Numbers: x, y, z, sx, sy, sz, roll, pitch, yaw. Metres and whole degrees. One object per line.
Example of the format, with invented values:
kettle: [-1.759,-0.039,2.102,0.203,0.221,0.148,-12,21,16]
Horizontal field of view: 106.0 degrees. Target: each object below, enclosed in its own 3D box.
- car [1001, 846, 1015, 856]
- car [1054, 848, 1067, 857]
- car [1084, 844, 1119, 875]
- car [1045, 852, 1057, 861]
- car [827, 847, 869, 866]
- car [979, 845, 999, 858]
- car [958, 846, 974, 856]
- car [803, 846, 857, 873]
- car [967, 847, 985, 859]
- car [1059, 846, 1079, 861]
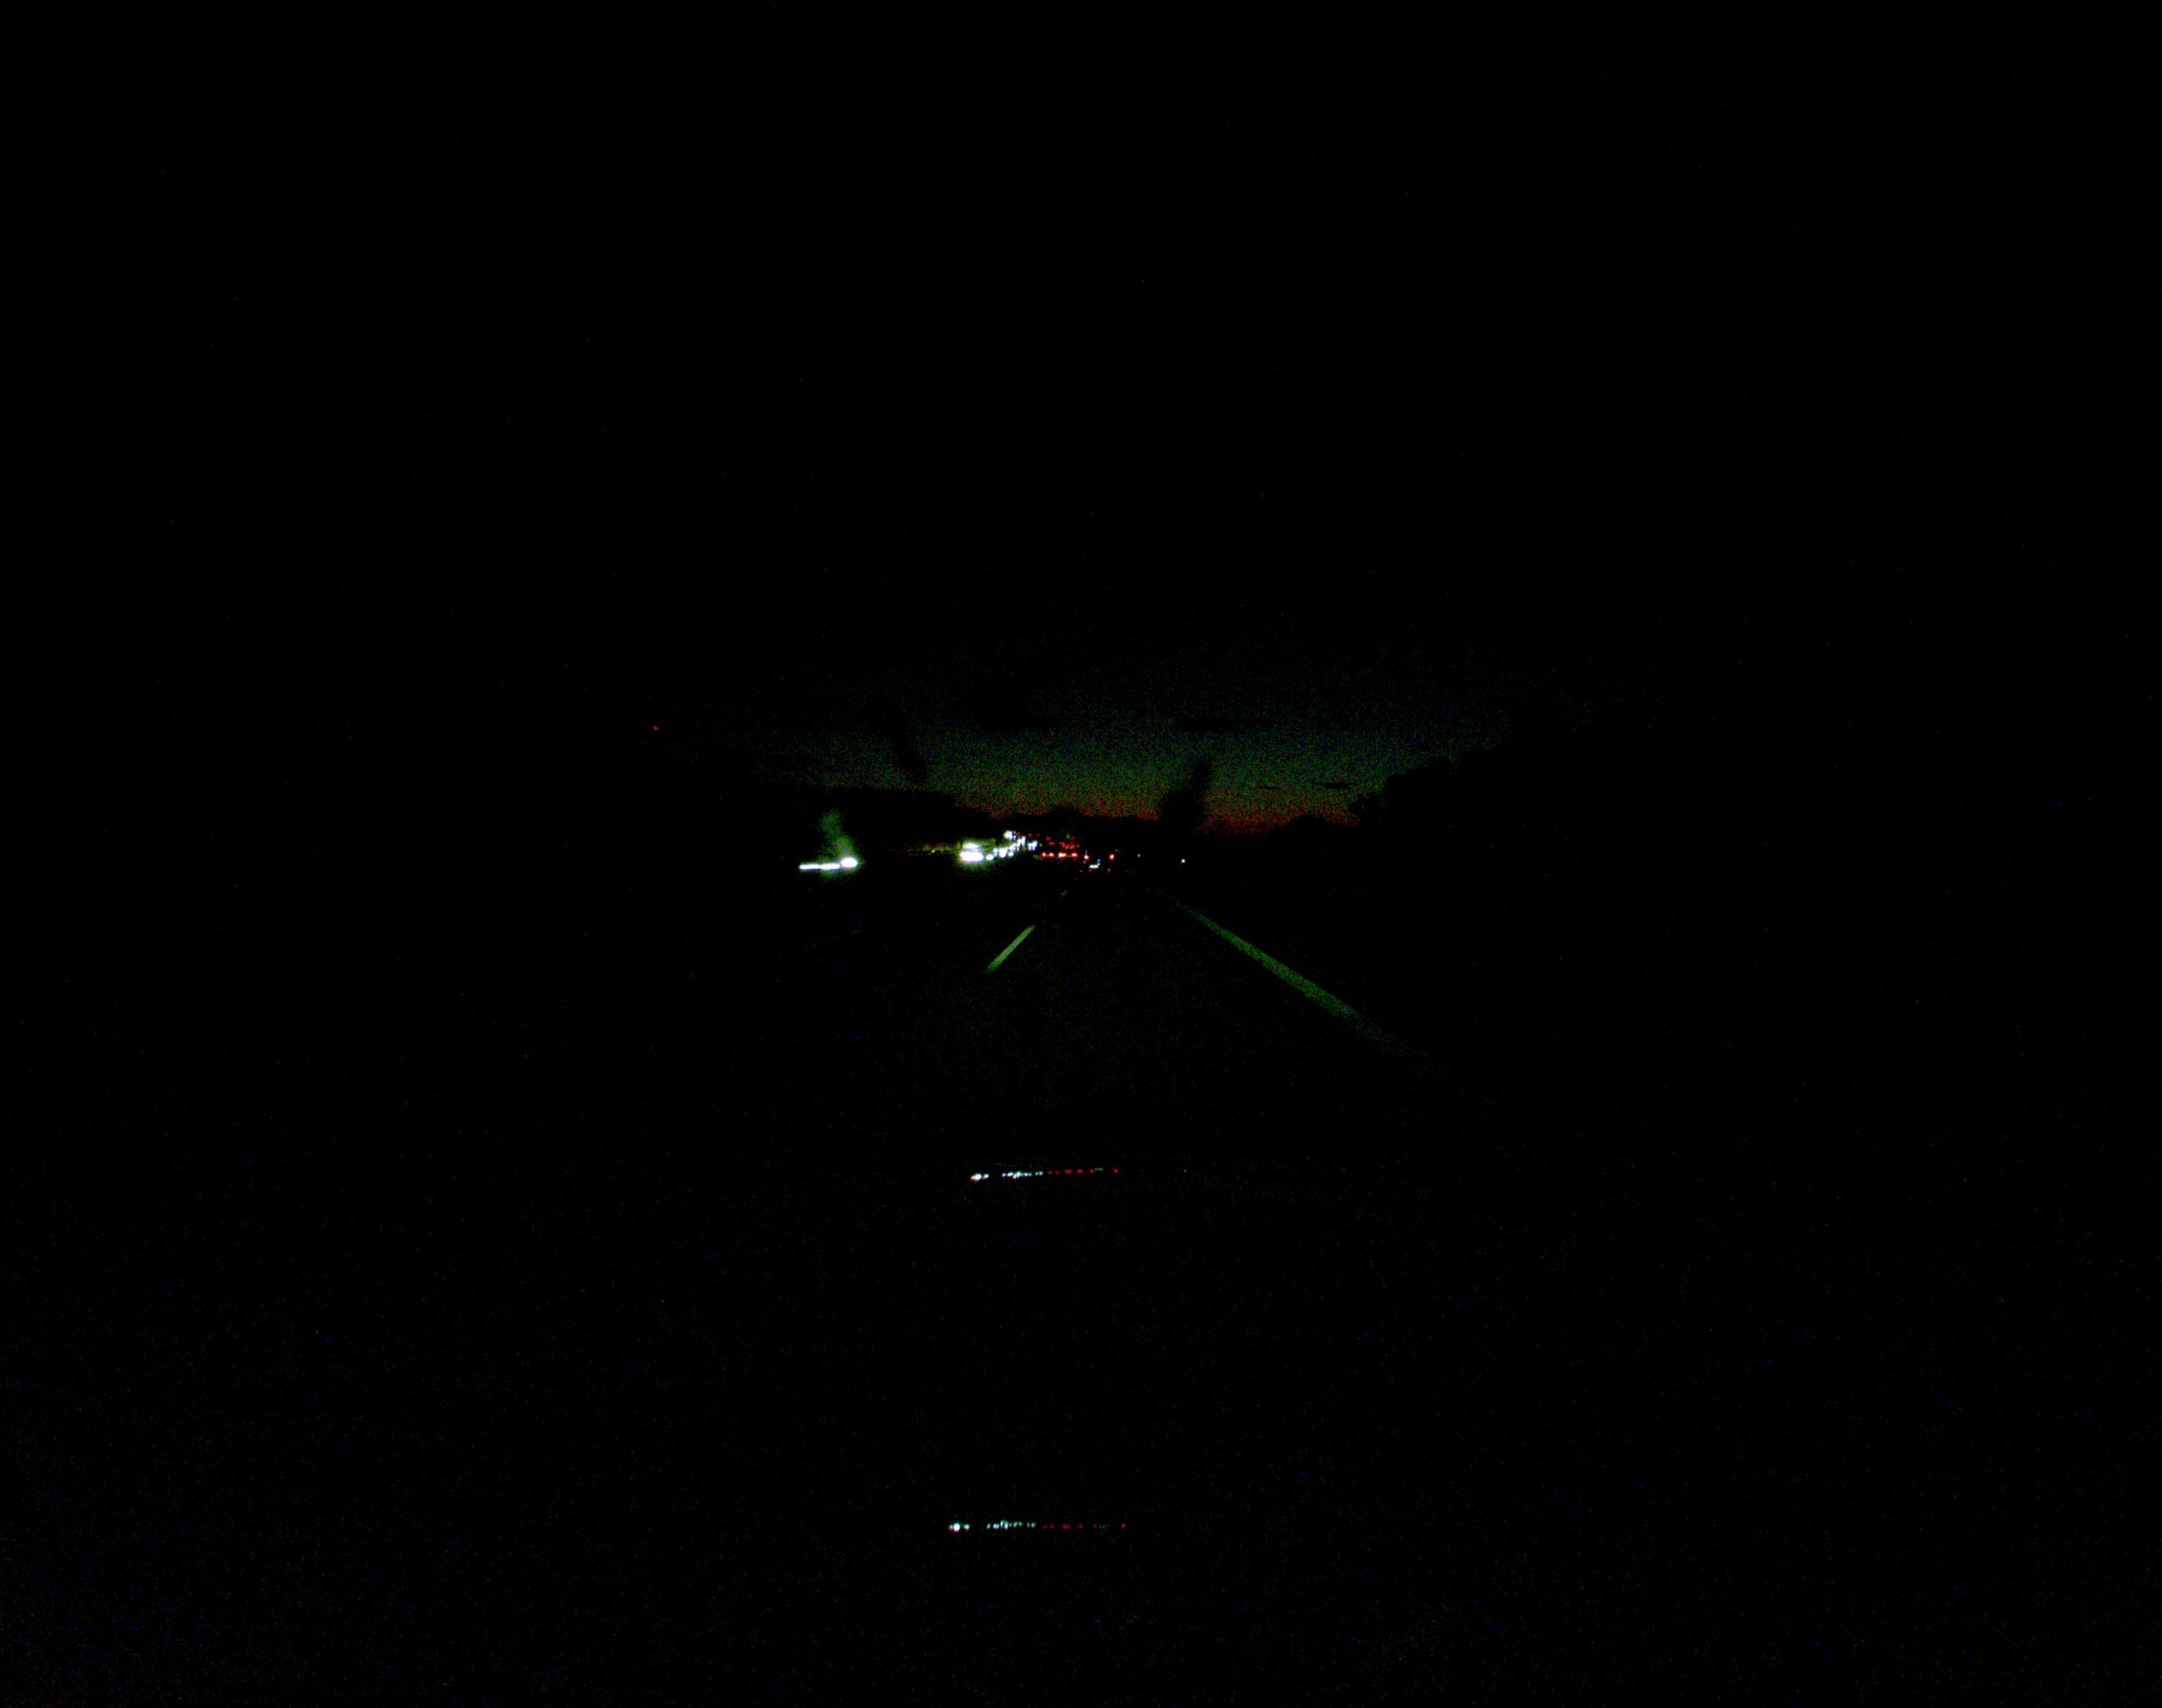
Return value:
car: [-13.211,-0.496,147.720,2.096,1.789,4.871,0,1,2]
car: [-3.568,-0.263,142.660,1.772,1.487,5.259,2,1,4]
car: [1.357,0.360,54.994,2.189,1.955,4.764,-1,0,1]
car: [-4.861,0.404,131.562,1.544,1.431,5.516,-1,-1,2]
car: [-21.380,0.284,74.925,2.096,1.688,5.388,0,-1,2]
car: [-12.493,-0.327,110.562,2.096,1.789,4.321,0,-1,2]
car: [-21.504,-0.479,152.687,2.096,1.789,4.871,0,-1,2]
car: [-17.247,0.395,56.188,2.096,1.789,4.660,0,-1,2]
car: [-16.609,-0.217,128.847,2.096,1.789,4.871,0,1,2]
car: [-1.356,0.003,98.056,1.985,1.721,5.946,-1,-1,3]
